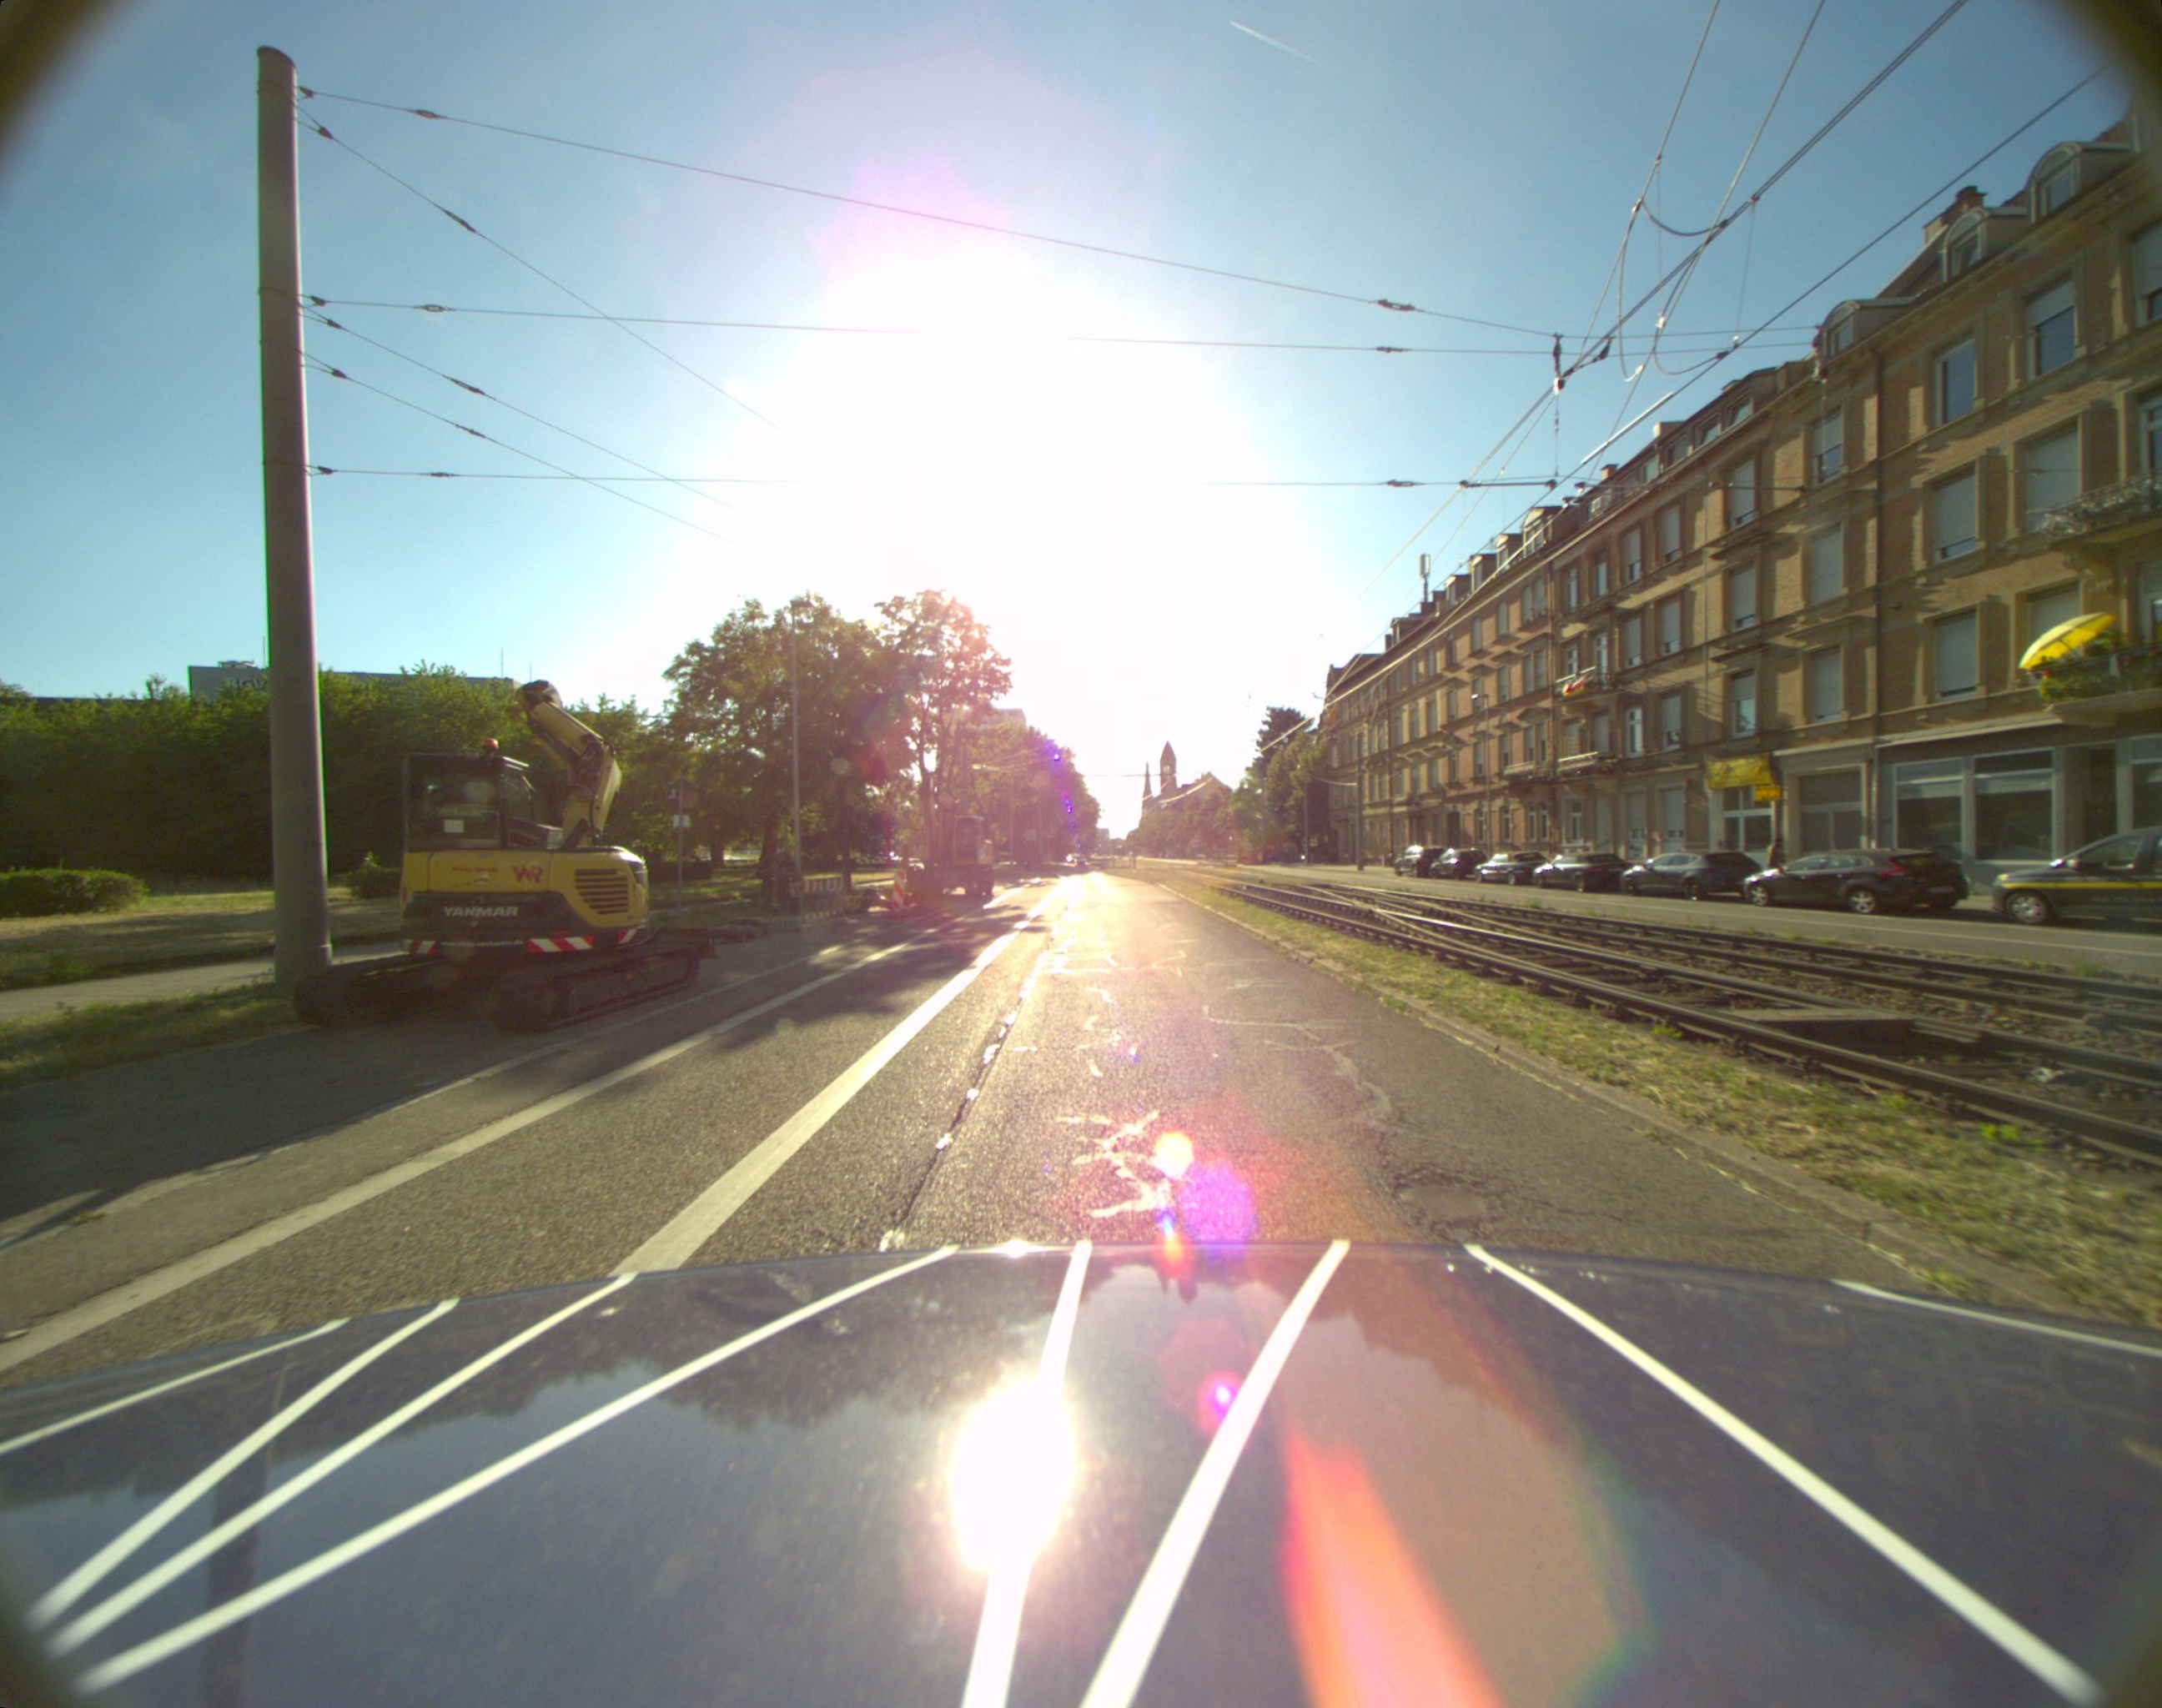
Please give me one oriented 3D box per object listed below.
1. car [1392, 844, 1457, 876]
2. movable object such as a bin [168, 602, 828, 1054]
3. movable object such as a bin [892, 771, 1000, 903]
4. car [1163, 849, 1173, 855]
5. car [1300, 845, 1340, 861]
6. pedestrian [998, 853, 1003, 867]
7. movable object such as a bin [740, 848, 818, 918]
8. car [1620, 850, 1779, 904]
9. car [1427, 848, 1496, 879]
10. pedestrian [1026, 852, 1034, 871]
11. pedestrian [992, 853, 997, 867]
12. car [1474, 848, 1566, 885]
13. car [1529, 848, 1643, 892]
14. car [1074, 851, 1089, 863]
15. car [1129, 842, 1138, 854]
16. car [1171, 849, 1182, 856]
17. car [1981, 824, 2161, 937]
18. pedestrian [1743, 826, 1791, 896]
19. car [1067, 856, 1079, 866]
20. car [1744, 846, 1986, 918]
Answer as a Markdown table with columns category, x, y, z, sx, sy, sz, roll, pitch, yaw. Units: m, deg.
| category | x | y | z | sx | sy | sz | roll | pitch | yaw |
| --- | --- | --- | --- | --- | --- | --- | --- | --- | --- |
| car | 19.363 | 0.303 | 43.043 | 1.798 | 1.633 | 4.631 | -3 | 0 | 4 |
| movable object such as a bin | -6.489 | -0.245 | 10.596 | 3.347 | 3.953 | 7.597 | 2 | 1 | -1 |
| movable object such as a bin | -5.151 | -0.622 | 30.487 | 2.922 | 4.584 | 7.597 | 2 | 1 | -1 |
| car | 21.355 | -0.418 | 186.295 | 1.799 | 1.501 | 3.999 | -1 | 1 | -1 |
| car | 26.434 | -0.084 | 83.955 | 3.991 | 1.502 | 1.802 | -3 | 2 | 22 |
| pedestrian | -10.360 | 0.745 | 97.549 | 0.502 | 1.830 | 0.565 | -1 | 1 | -1 |
| movable object such as a bin | -7.766 | 0.718 | 19.624 | 1.320 | 1.659 | 1.303 | 5 | 1 | 5 |
| car | 18.746 | 0.637 | 23.300 | 1.663 | 1.437 | 3.981 | -3 | 0 | 1 |
| car | 19.314 | 0.444 | 38.748 | 1.663 | 1.437 | 3.765 | -3 | 1 | 1 |
| pedestrian | -4.556 | 0.647 | 67.932 | 0.532 | 1.653 | 0.486 | 1 | 1 | -21 |
| pedestrian | -11.088 | 0.744 | 97.548 | 0.645 | 1.830 | 0.565 | -1 | 1 | -1 |
| car | 19.101 | 0.508 | 33.289 | 1.663 | 1.437 | 4.196 | -3 | 0 | 1 |
| car | 18.927 | 0.553 | 28.709 | 1.663 | 1.437 | 3.981 | -3 | 0 | 1 |
| car | 0.113 | 0.375 | 101.849 | 1.798 | 1.501 | 4.000 | -3 | 0 | 1 |
| car | 12.240 | -1.399 | 175.942 | 1.799 | 2.766 | 4.000 | -1 | 1 | 1 |
| car | 22.121 | -0.369 | 176.078 | 1.799 | 1.501 | 3.999 | -1 | 1 | -1 |
| car | 18.422 | 0.415 | 12.462 | 1.664 | 1.797 | 4.728 | -3 | 1 | 0 |
| pedestrian | 20.515 | 0.204 | 22.734 | 0.637 | 2.002 | 0.875 | -4 | 2 | -28 |
| car | -1.298 | 1.097 | 122.564 | 1.798 | 1.501 | 4.000 | -3 | 0 | 1 |
| car | 18.292 | 0.579 | 18.040 | 1.663 | 1.437 | 3.981 | -3 | 0 | 1 |
